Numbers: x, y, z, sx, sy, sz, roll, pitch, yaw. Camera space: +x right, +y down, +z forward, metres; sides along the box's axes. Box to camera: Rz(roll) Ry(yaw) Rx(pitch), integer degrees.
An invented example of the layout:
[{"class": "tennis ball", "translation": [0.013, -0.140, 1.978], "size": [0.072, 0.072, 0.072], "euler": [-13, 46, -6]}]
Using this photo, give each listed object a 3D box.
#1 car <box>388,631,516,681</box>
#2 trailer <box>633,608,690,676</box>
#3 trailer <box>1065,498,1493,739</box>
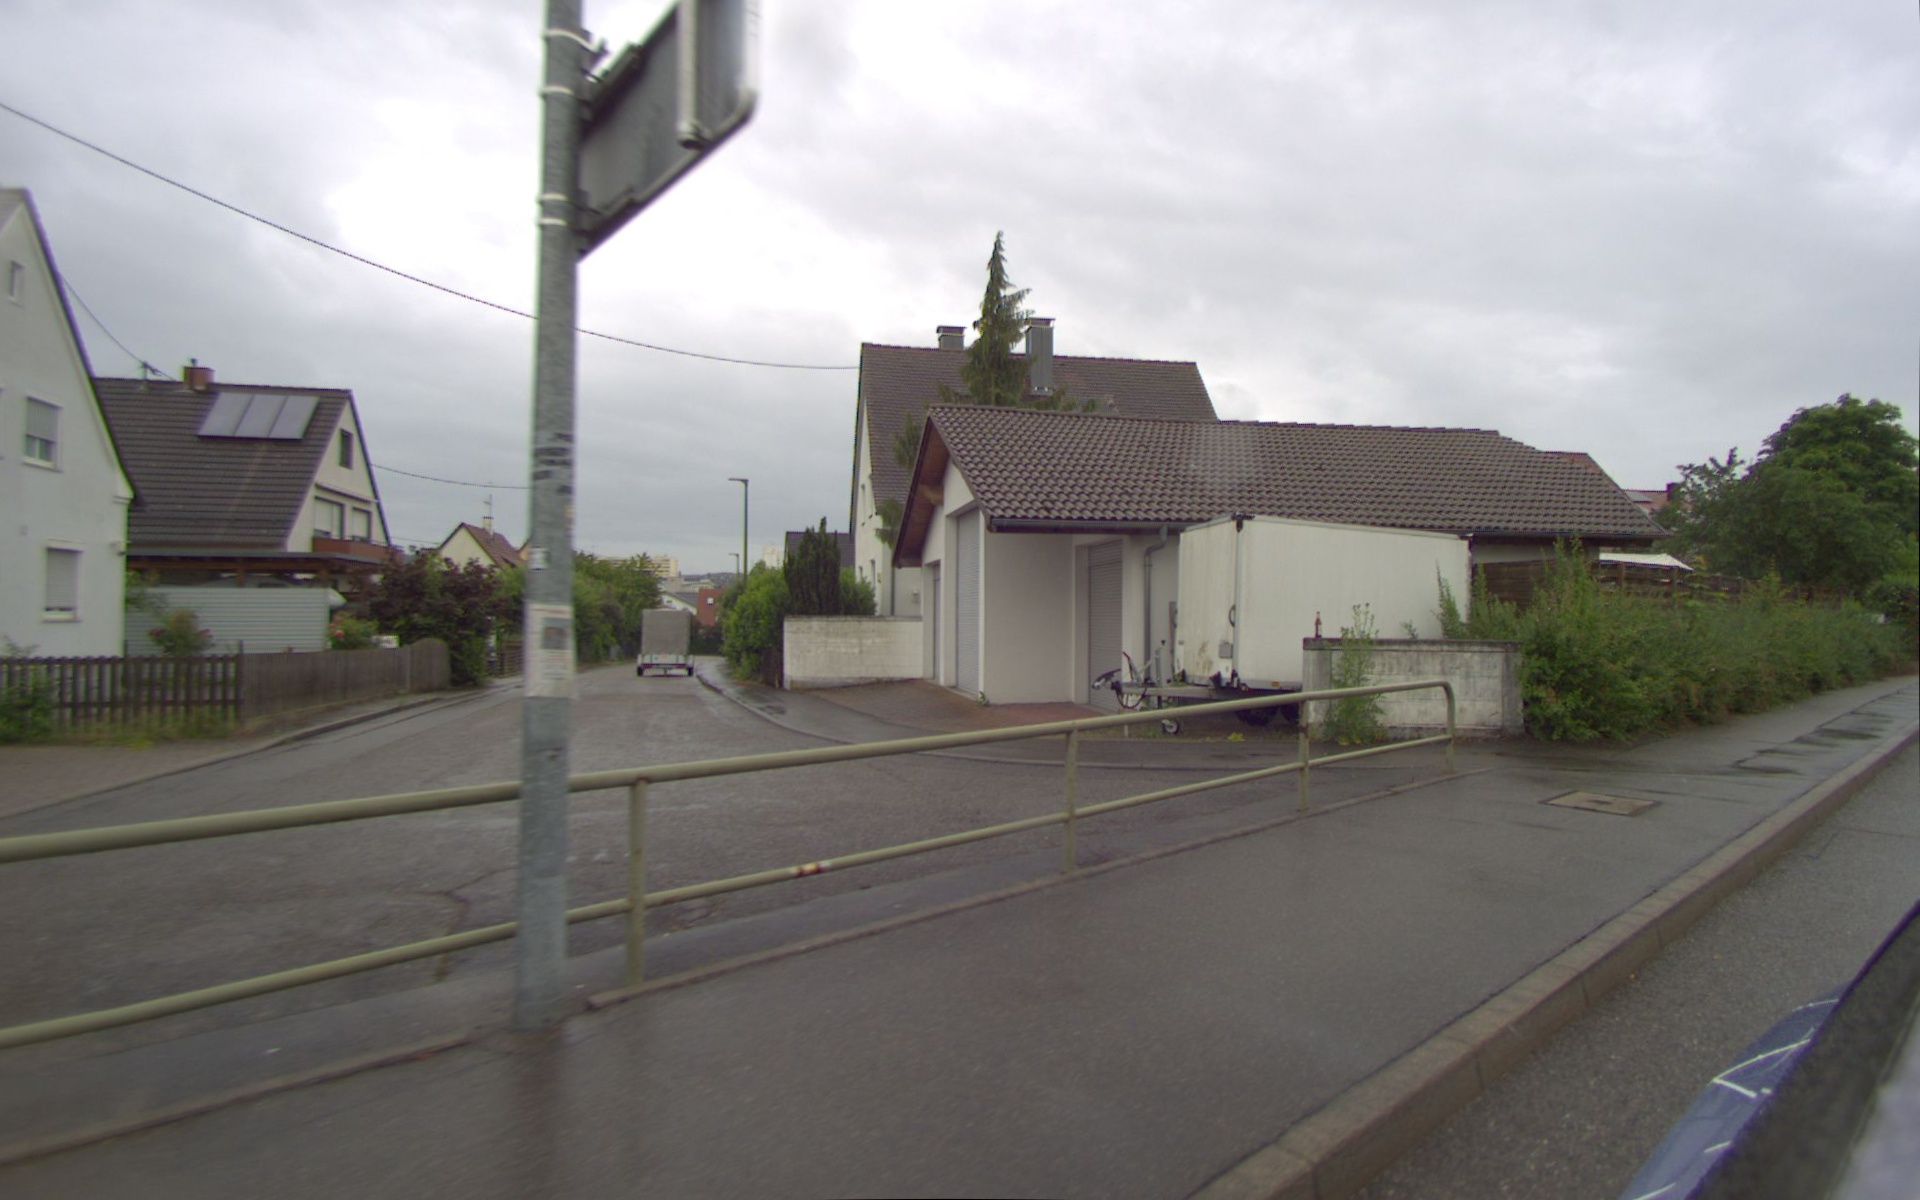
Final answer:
[{"class": "car", "translation": [-15.676, 1.705, 31.294], "size": [3.302, 1.461, 1.675], "euler": [-1, -2, 16]}, {"class": "trailer", "translation": [-10.992, 1.482, 37.424], "size": [1.925, 2.373, 4.007], "euler": [0, -1, -16]}, {"class": "trailer", "translation": [3.716, 0.192, 12.019], "size": [4.605, 2.550, 1.652], "euler": [0, -1, -12]}]
